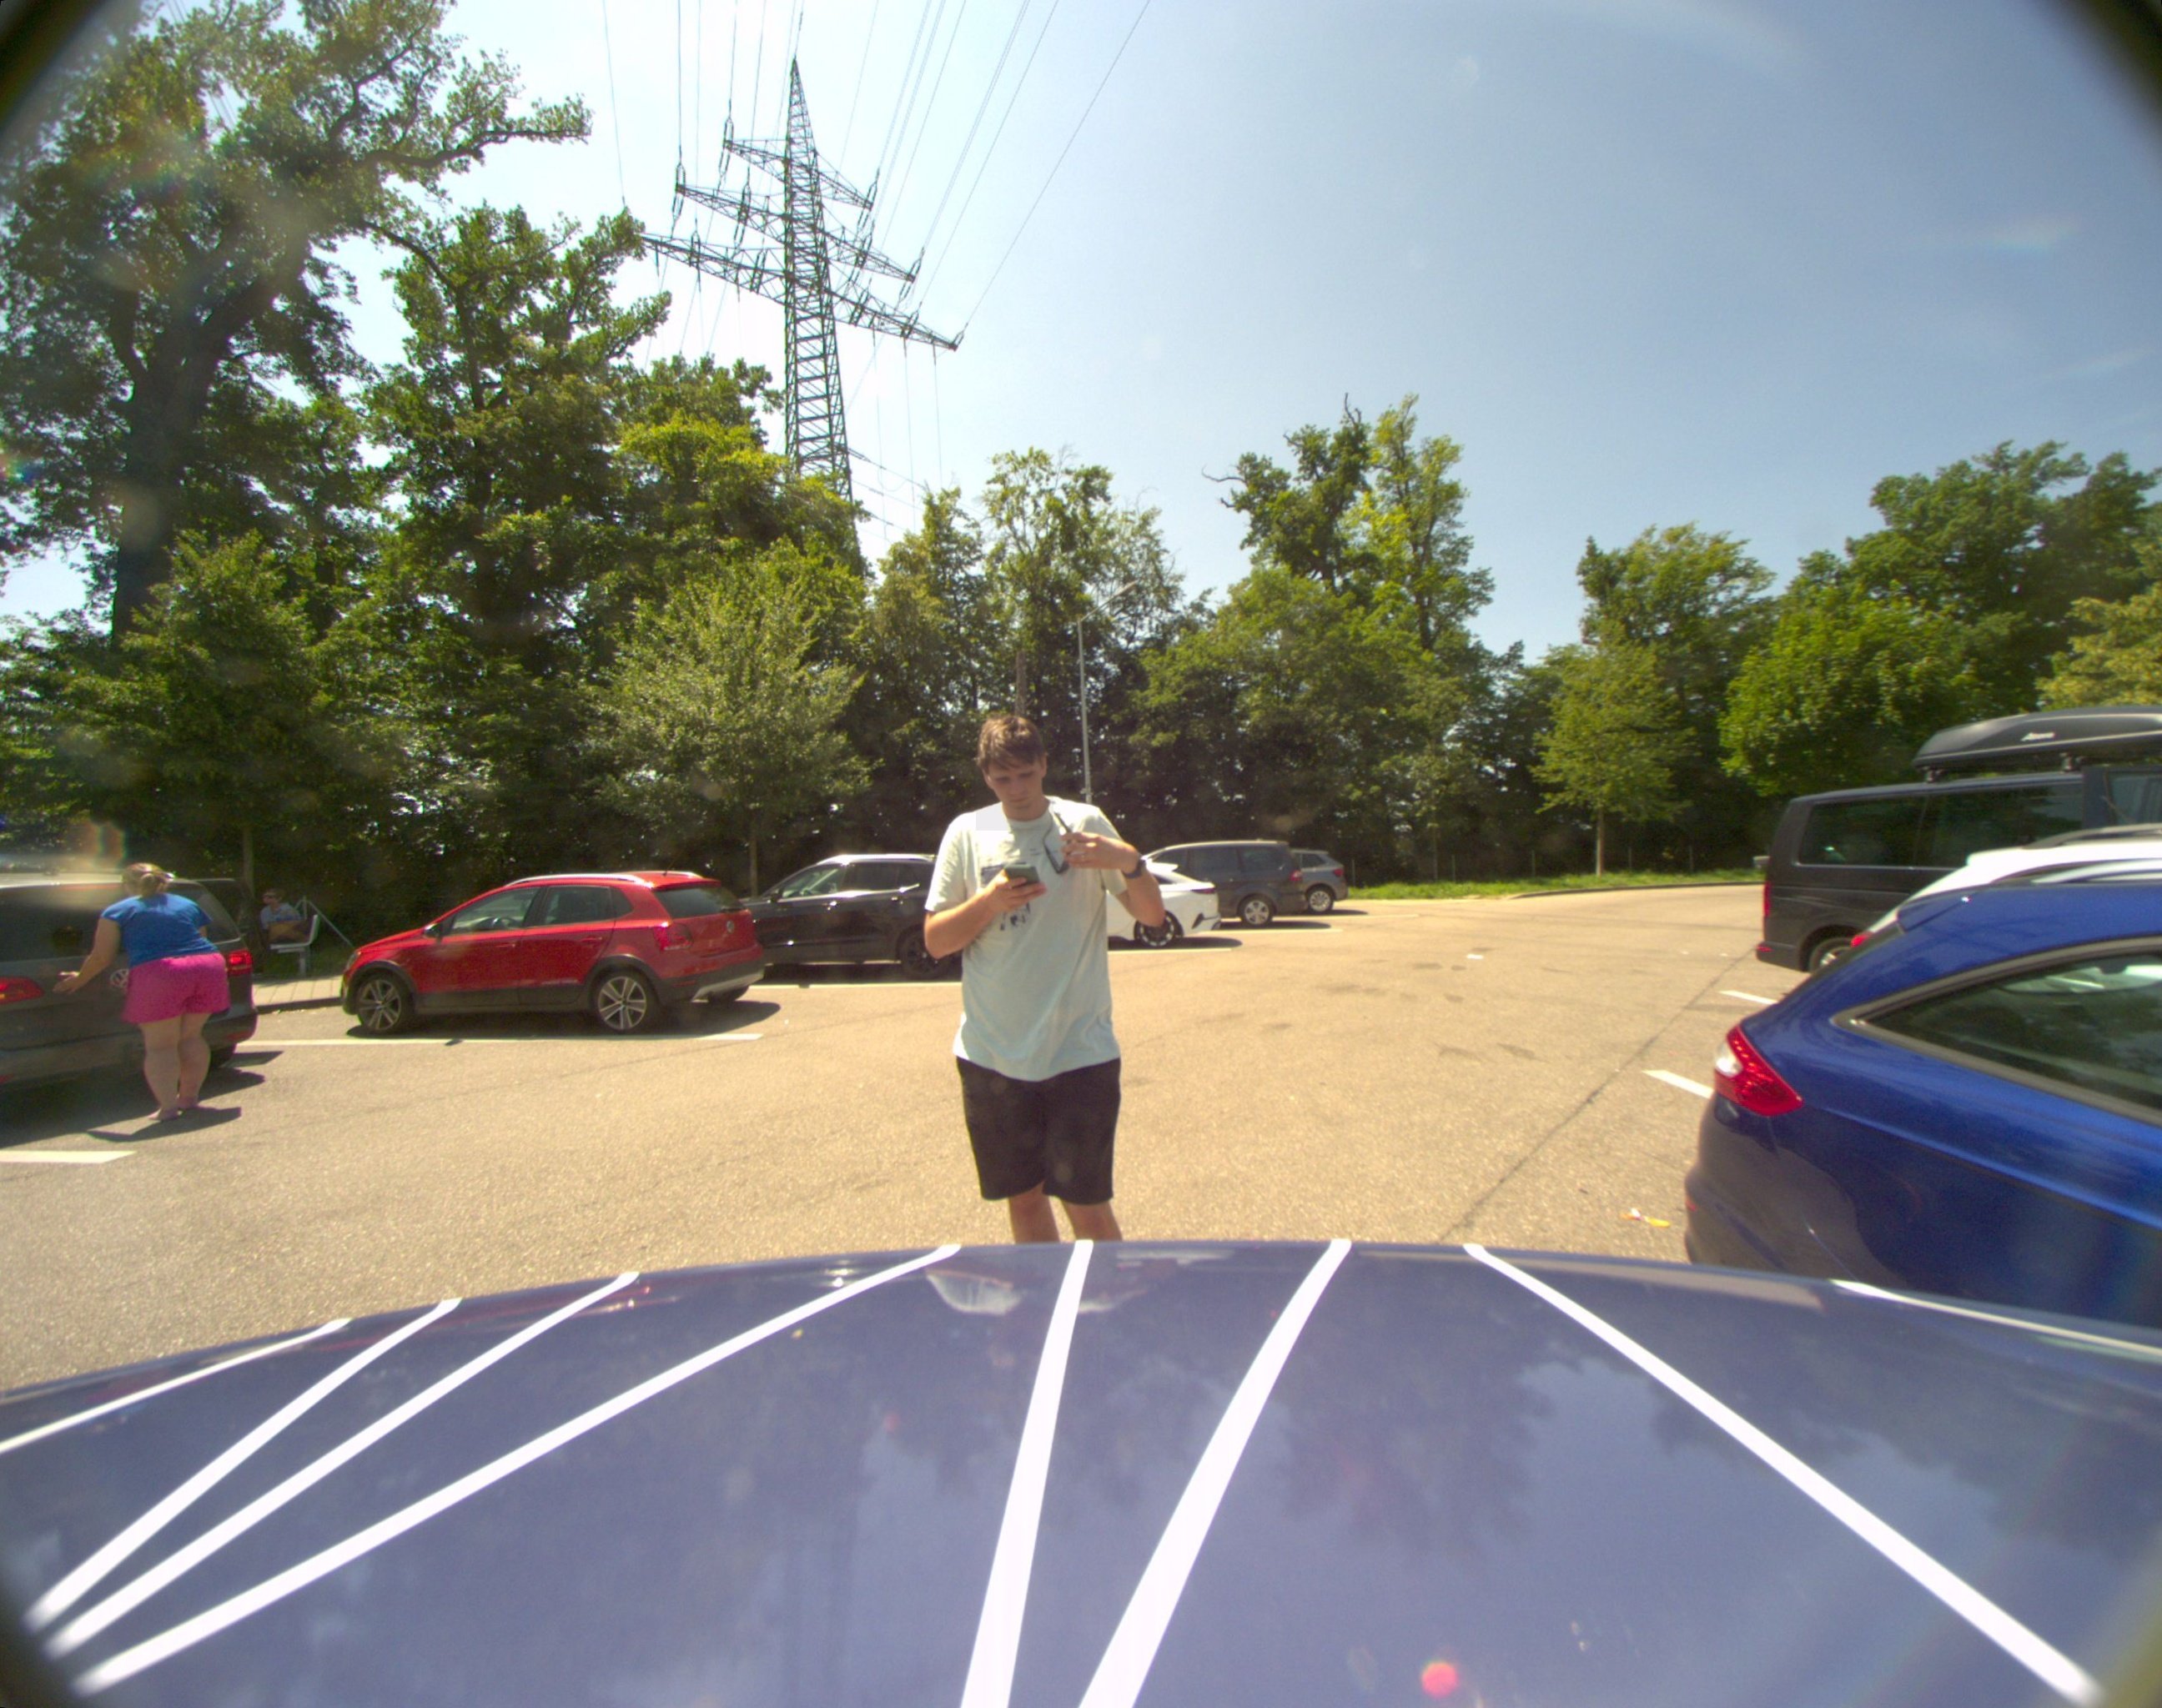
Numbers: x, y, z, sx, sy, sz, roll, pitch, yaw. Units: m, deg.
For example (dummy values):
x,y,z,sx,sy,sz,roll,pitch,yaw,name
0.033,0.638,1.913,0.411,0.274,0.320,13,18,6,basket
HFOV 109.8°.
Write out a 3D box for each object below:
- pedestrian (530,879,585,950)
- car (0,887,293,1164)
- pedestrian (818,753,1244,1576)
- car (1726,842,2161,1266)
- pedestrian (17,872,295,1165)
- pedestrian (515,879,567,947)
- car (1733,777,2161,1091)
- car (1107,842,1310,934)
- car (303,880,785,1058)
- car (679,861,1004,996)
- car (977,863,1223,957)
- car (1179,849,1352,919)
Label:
x,y,z,sx,sy,sz,roll,pitch,yaw,name
-10.003,1.134,14.524,0.782,1.287,0.670,-1,2,45,pedestrian
-8.292,1.103,5.460,3.985,1.572,1.749,-1,1,12,car
-0.112,0.702,2.028,0.890,1.831,0.622,-2,1,-2,pedestrian
4.873,0.723,2.301,1.741,1.524,4.642,-3,-1,-2,car
-6.012,0.981,4.983,0.732,1.672,0.921,-2,1,24,pedestrian
-10.906,1.160,15.334,0.782,1.287,0.670,-1,2,45,pedestrian
7.321,0.436,4.930,1.961,1.858,4.642,-3,-1,-3,car
2.589,0.666,15.470,3.818,1.714,1.722,-1,1,12,car
-5.239,1.063,7.669,3.785,1.457,1.722,-1,1,9,car
-3.066,0.934,10.279,3.787,1.564,1.721,-1,1,2,car
0.365,0.897,12.745,3.819,1.377,1.722,-1,1,6,car
4.341,0.689,18.172,3.818,1.530,1.722,-1,1,12,car
